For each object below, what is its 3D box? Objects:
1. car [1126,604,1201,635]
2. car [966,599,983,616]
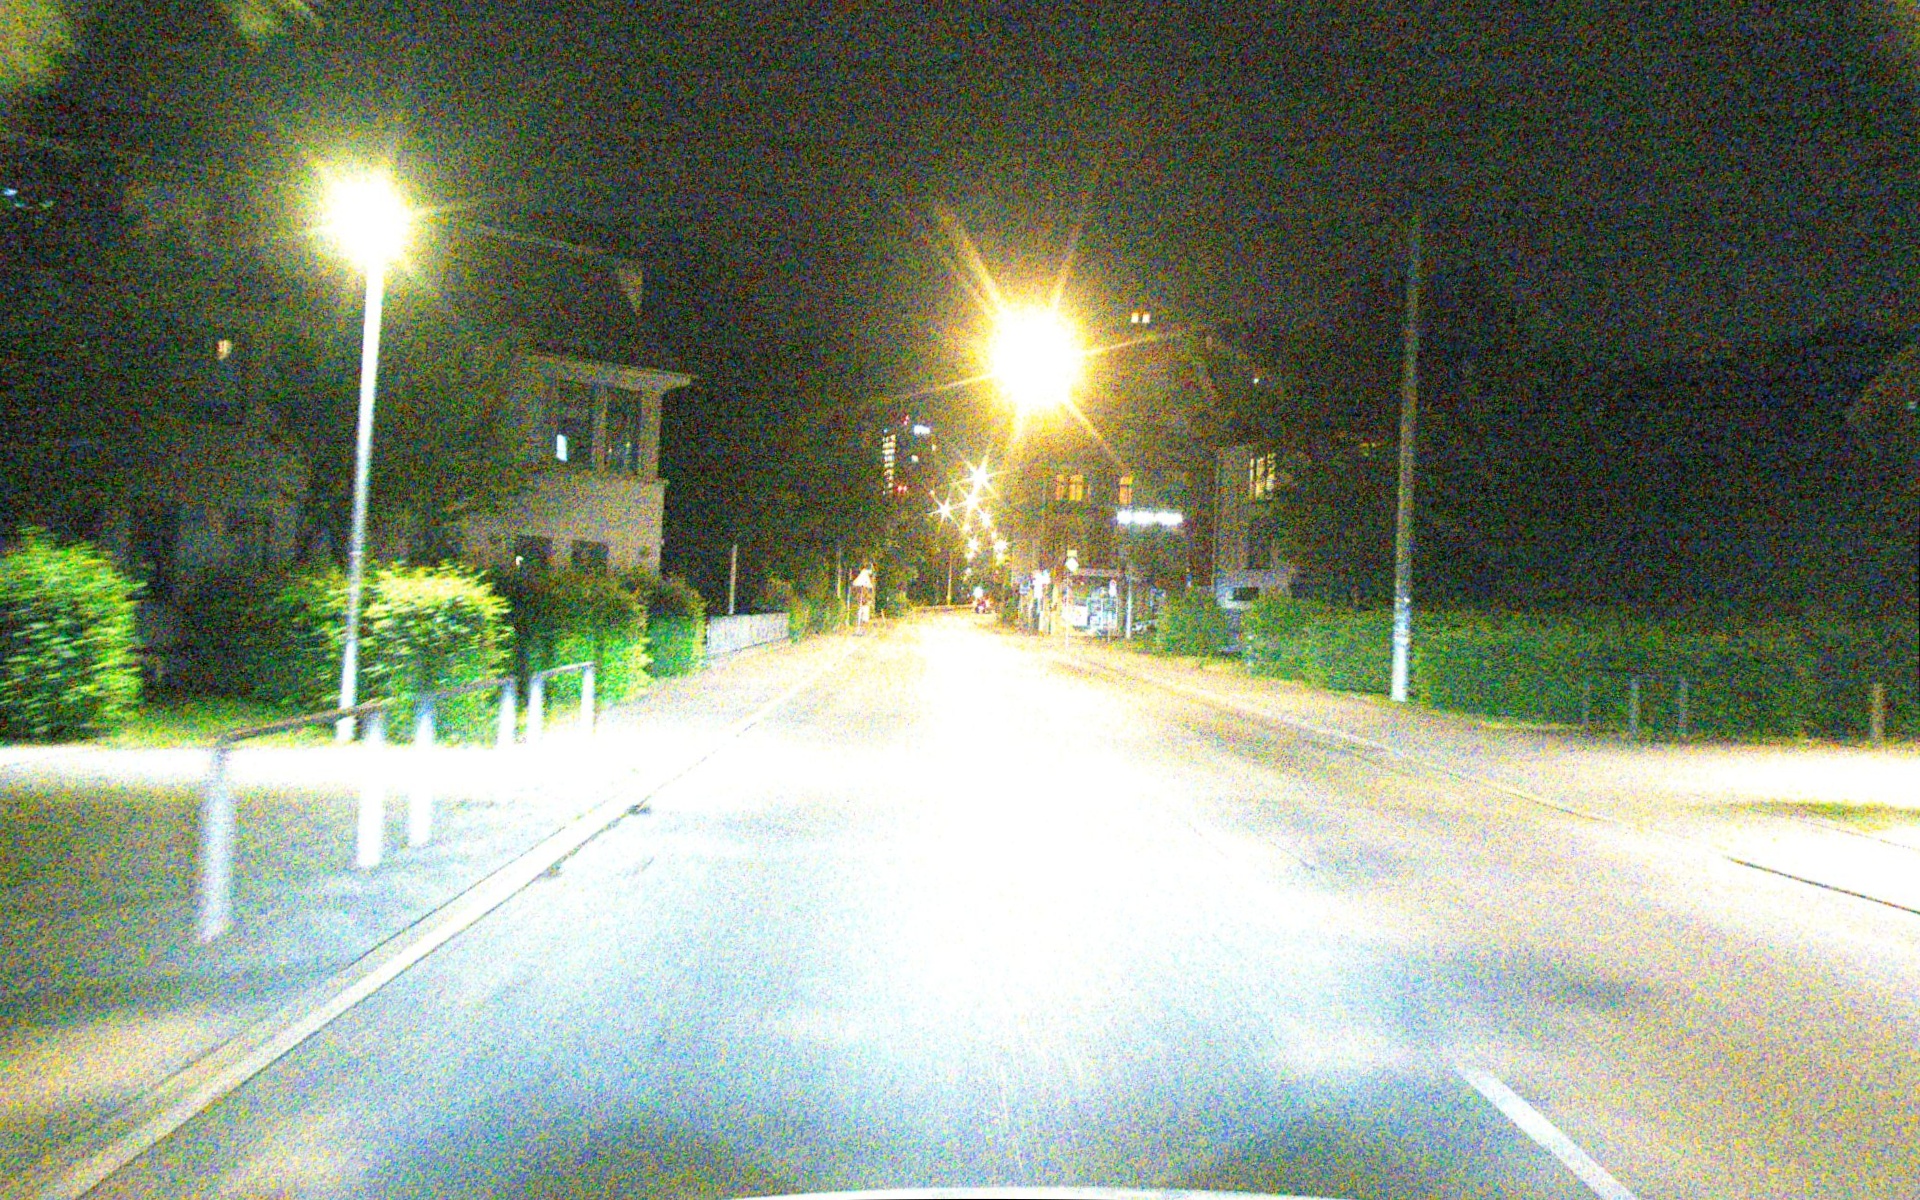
[{"bbox_3d":[11.118,1.059,90.636,3.762,1.571,1.807,2,0,-4],"label":"car"},{"bbox_3d":[1.781,0.953,198.089,1.886,1.887,3.998,2,-2,-1],"label":"car"}]
